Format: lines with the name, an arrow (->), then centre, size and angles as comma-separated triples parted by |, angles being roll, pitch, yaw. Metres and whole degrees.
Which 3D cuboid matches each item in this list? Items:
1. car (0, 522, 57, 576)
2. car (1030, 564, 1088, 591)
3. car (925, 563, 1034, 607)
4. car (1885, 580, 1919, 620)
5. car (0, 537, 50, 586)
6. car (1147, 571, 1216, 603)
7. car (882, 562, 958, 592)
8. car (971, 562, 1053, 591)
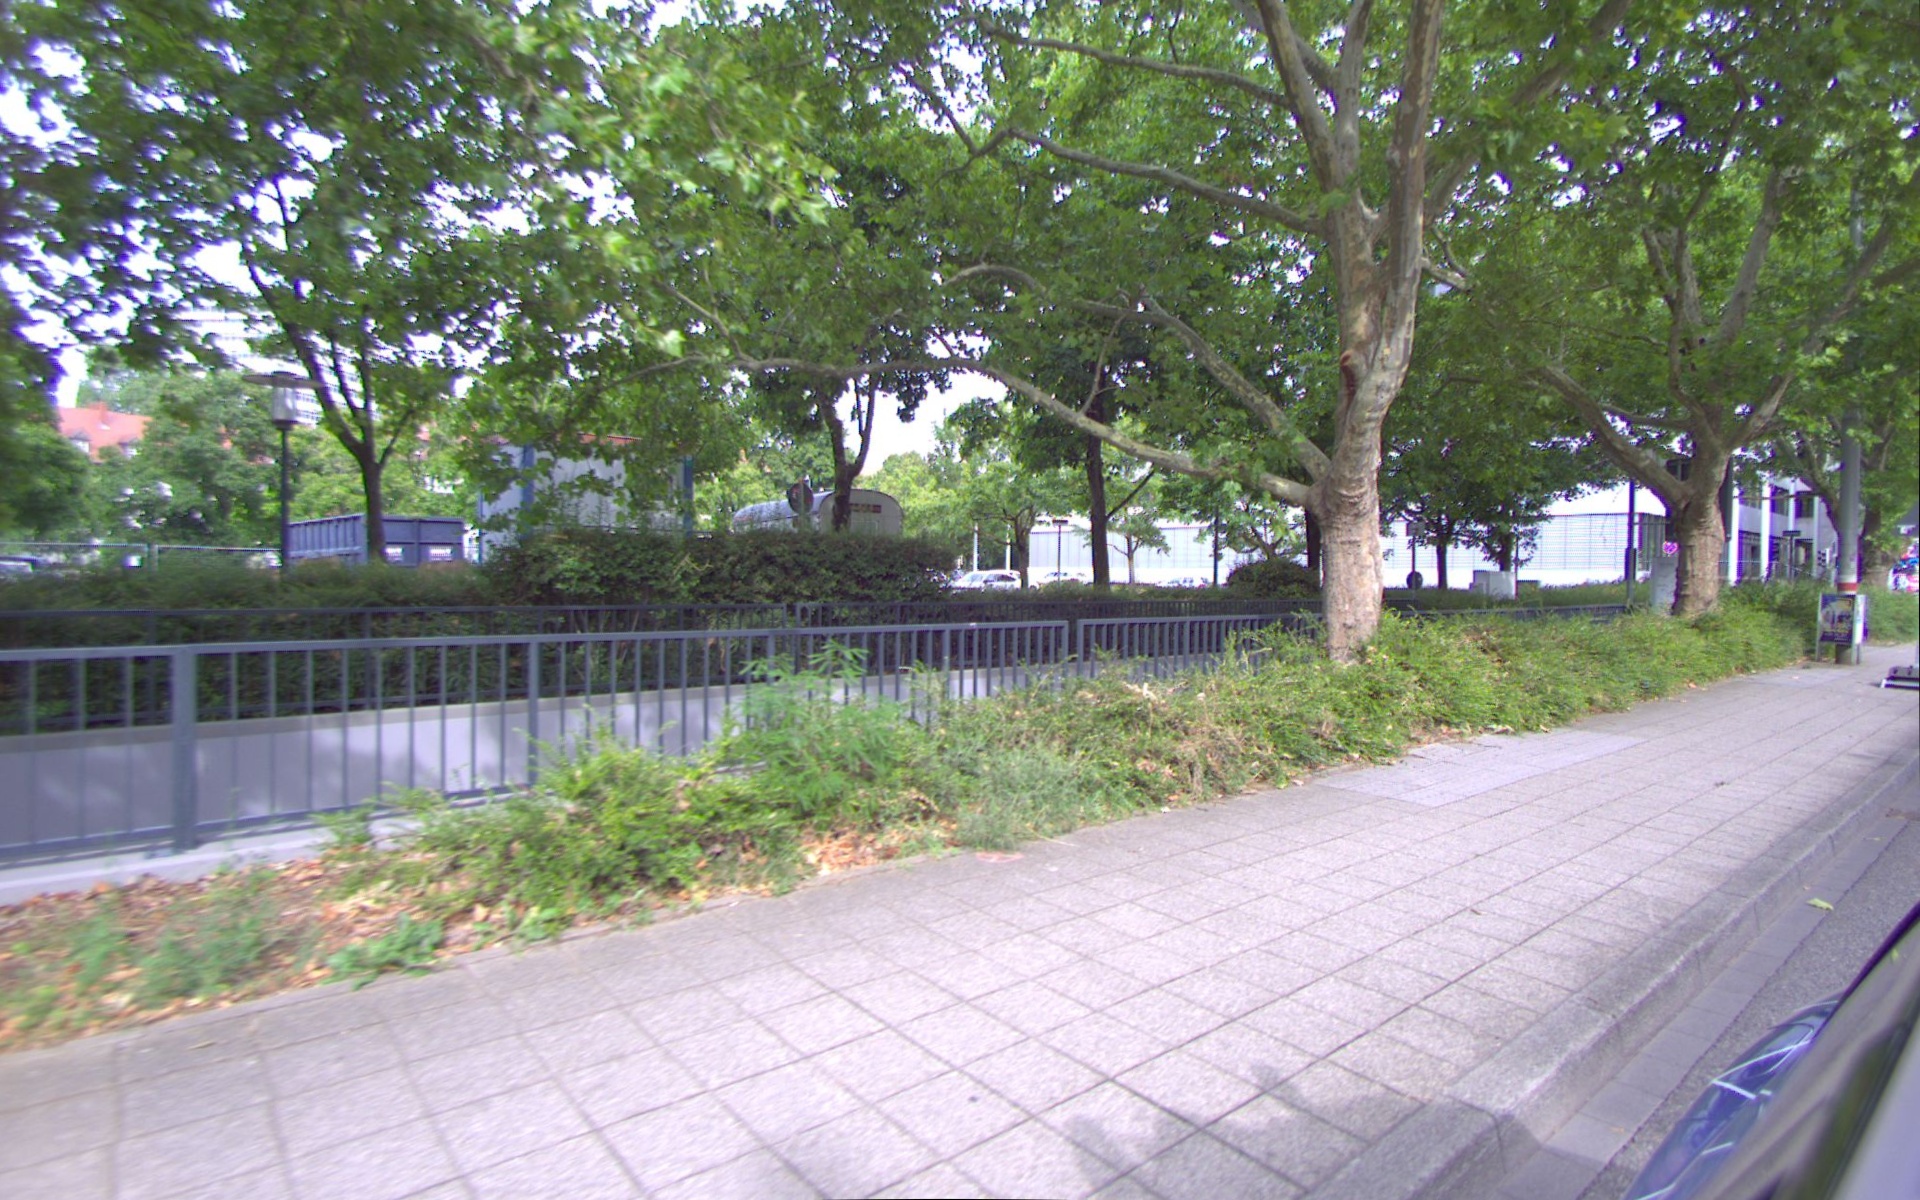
car -> -38.341, -2.004, 39.402 | 4.694, 2.039, 1.995 | 0, 0, -44
car -> 7.236, -1.621, 74.407 | 3.862, 1.885, 1.925 | 0, 0, 41
car -> 0.882, -0.630, 43.732 | 4.694, 1.817, 1.995 | 0, 0, -44
car -> 40.547, -0.018, 40.759 | 4.446, 1.572, 1.995 | 0, 0, 9
car -> -33.277, -1.313, 34.196 | 3.727, 1.600, 1.995 | 0, 0, -44
car -> 14.700, -0.854, 67.251 | 3.982, 2.039, 1.971 | 0, 0, 41
car -> -2.528, -1.420, 64.345 | 4.693, 1.817, 1.995 | 0, 0, -43
car -> 3.090, -1.334, 59.130 | 4.688, 1.651, 1.997 | 0, 0, -40
